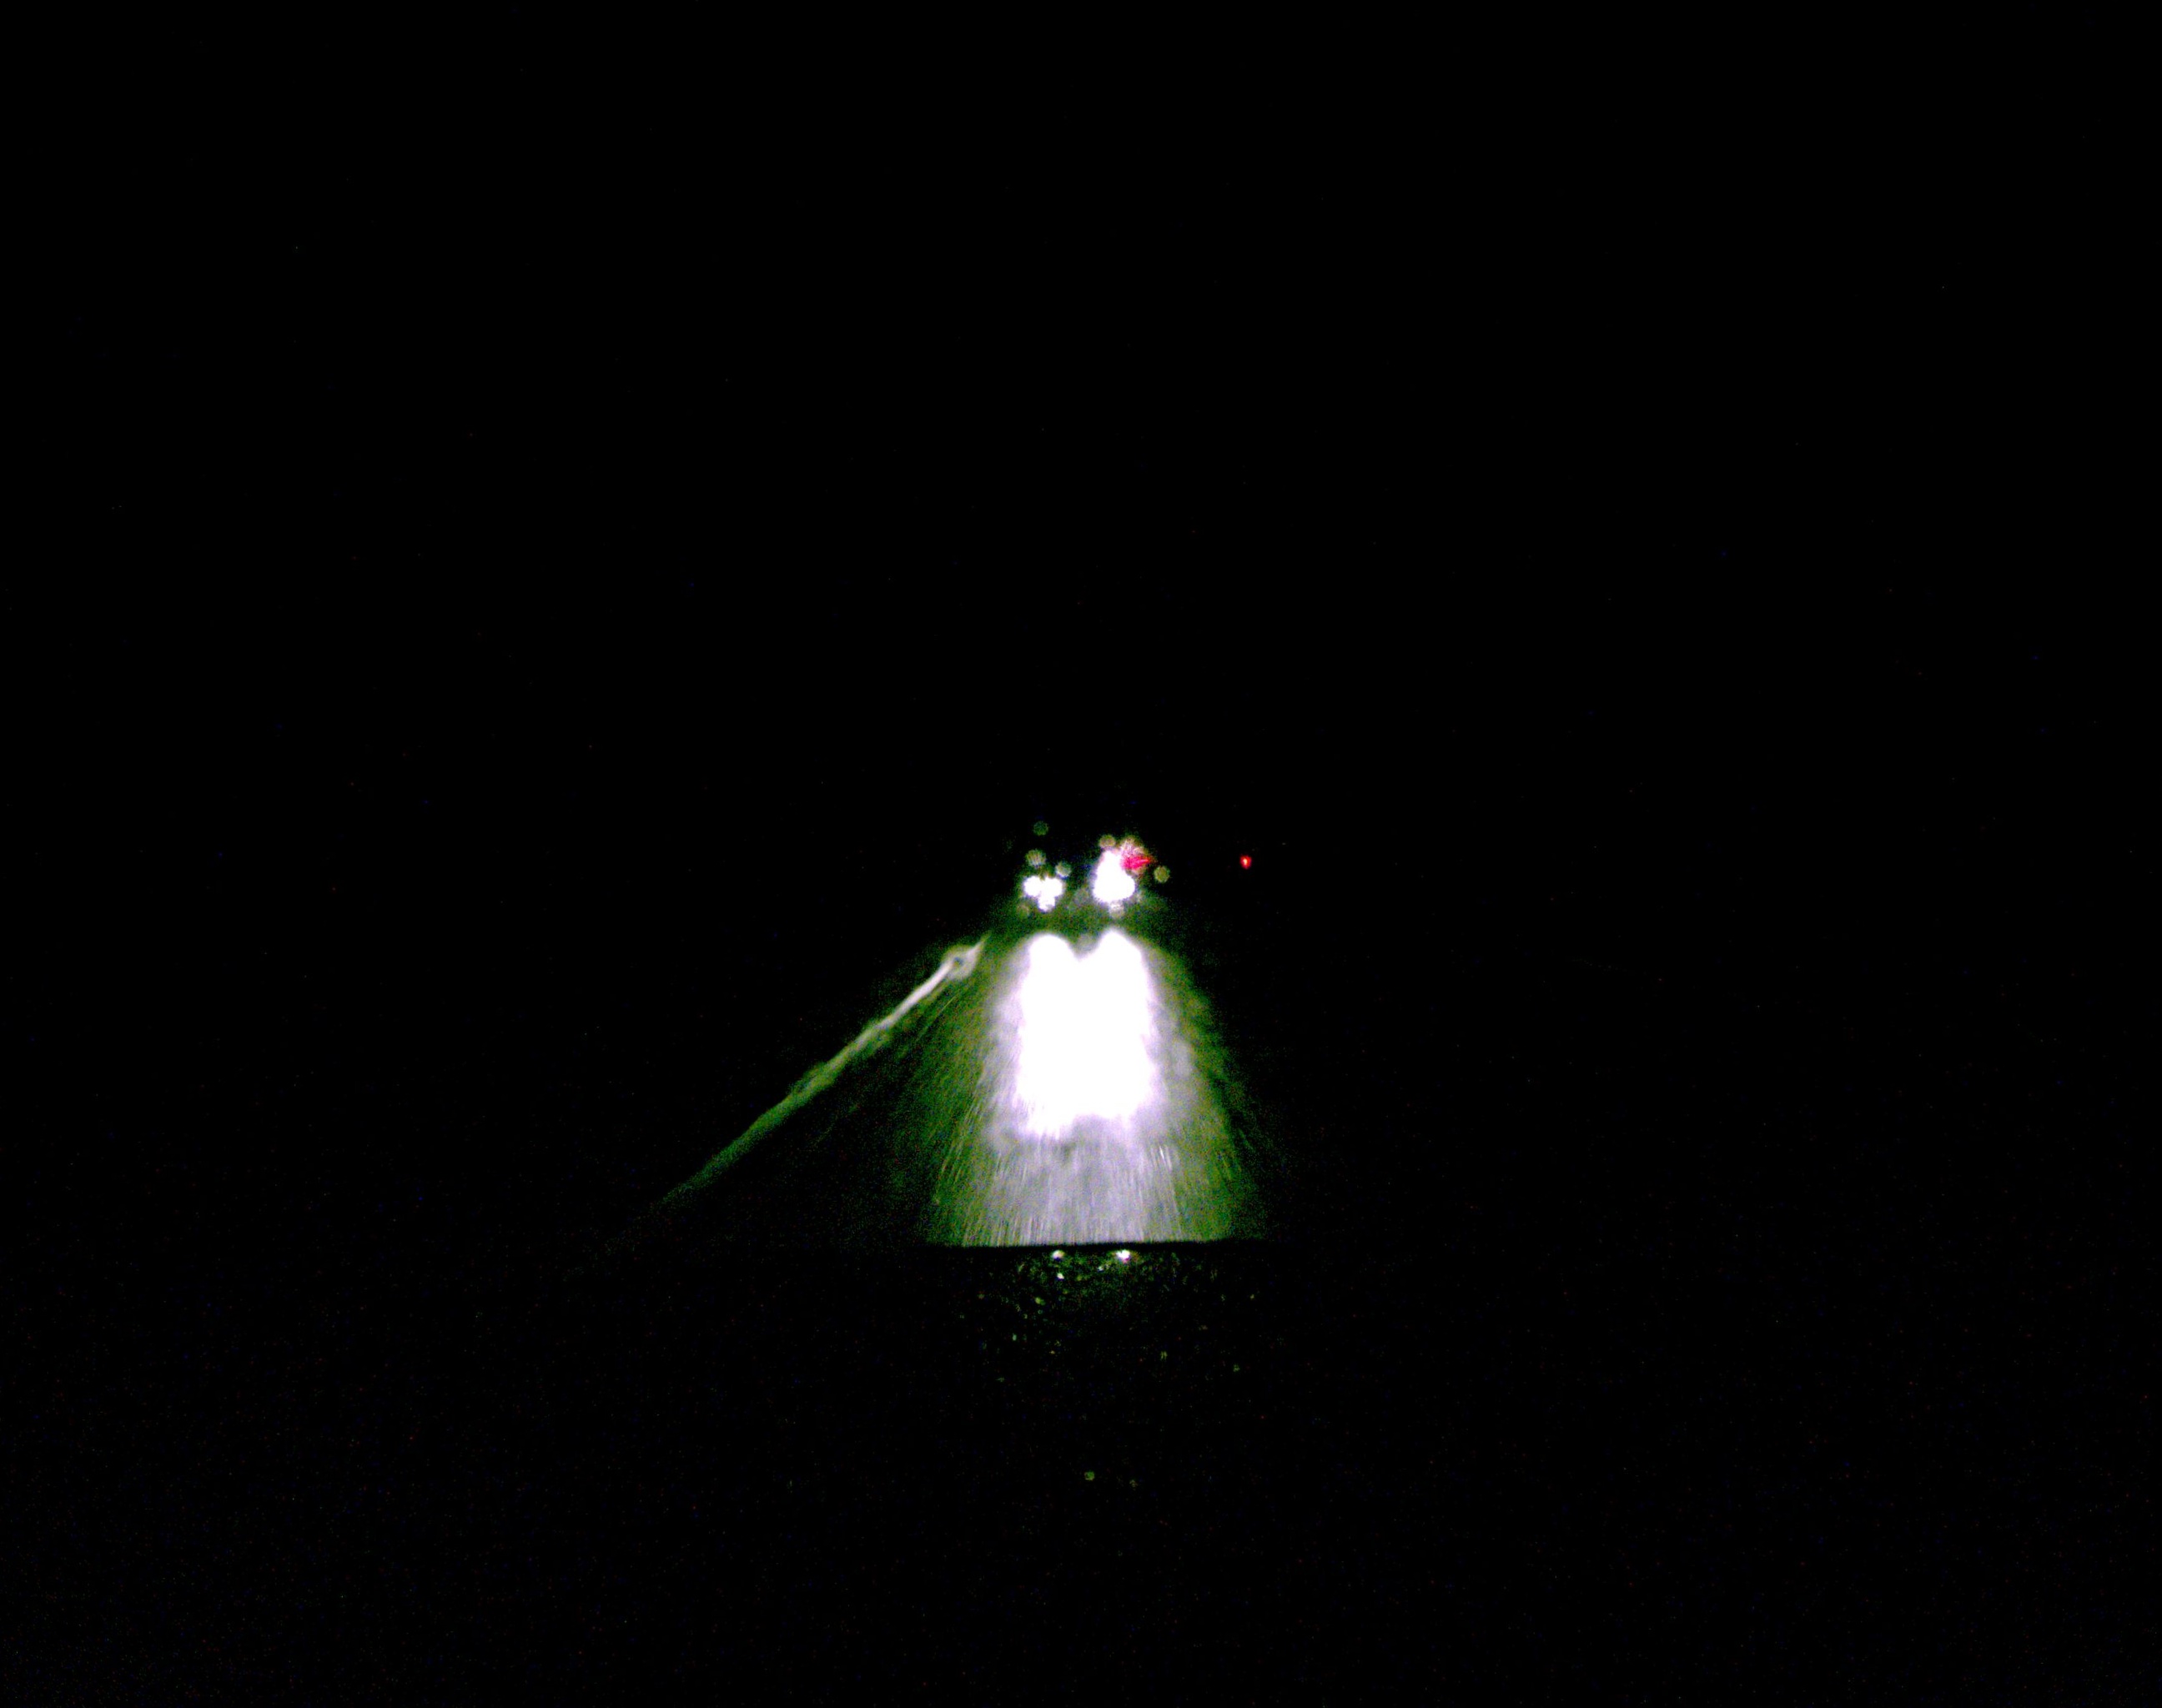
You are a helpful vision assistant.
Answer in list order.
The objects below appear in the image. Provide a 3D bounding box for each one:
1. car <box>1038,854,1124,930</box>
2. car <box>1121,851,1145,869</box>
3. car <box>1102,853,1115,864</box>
[{"bbox_3d":[0.101,0.842,18.757,1.845,1.565,4.000,-2,1,3],"label":"car"},{"bbox_3d":[4.806,0.529,70.596,1.908,1.461,4.274,-3,0,0],"label":"car"},{"bbox_3d":[4.197,0.719,115.815,1.845,1.565,4.000,-2,1,3],"label":"car"}]
